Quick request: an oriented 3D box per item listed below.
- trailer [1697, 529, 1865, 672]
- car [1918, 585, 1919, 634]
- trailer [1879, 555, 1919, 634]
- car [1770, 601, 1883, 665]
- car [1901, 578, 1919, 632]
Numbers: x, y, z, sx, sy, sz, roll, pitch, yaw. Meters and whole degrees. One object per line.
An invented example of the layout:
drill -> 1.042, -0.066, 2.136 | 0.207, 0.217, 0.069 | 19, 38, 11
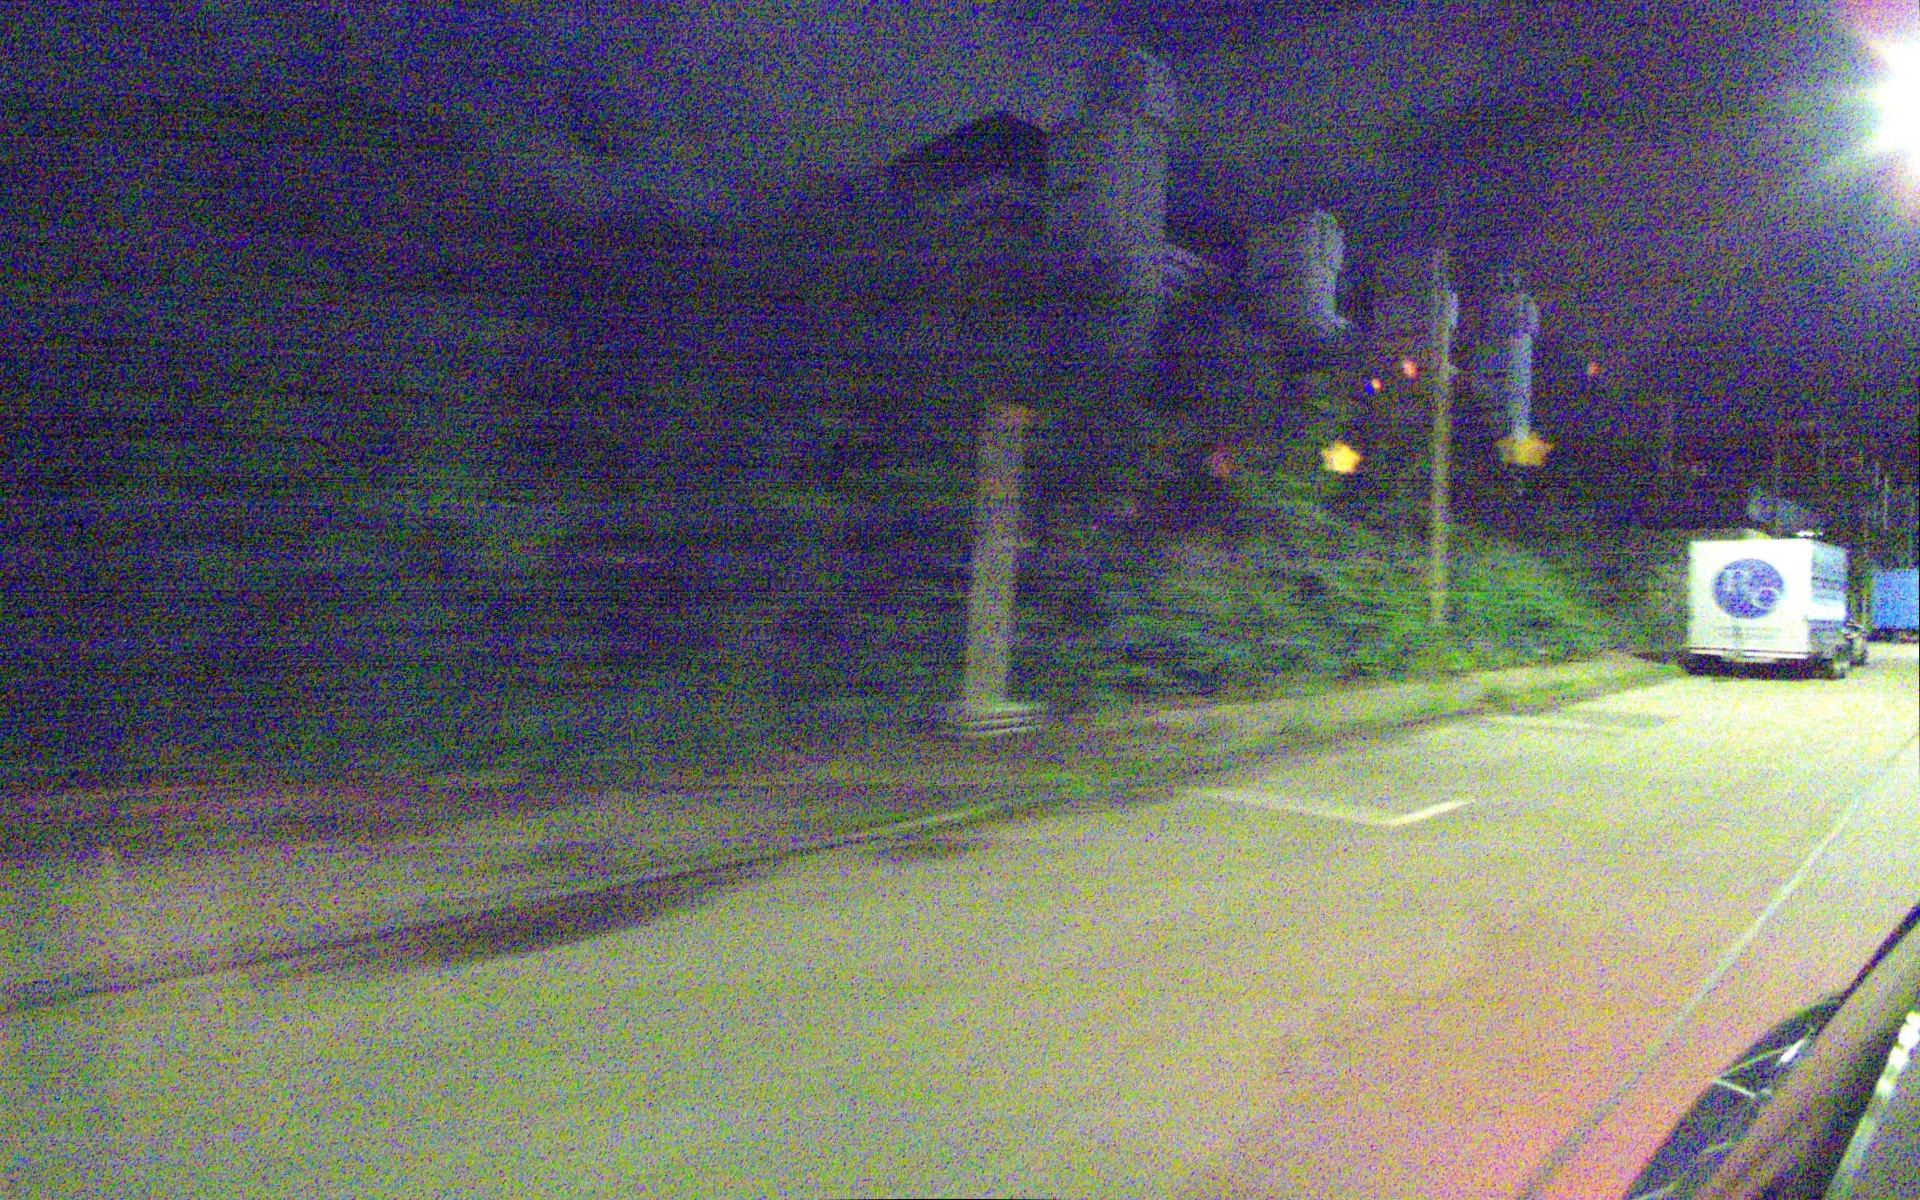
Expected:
trailer -> 17.125, 0.003, 21.055 | 3.929, 2.684, 1.998 | 0, 0, -40
car -> 53.913, 0.539, 55.382 | 5.927, 2.580, 1.995 | 0, 0, -45
trailer -> 42.283, -0.227, 44.627 | 2.399, 3.367, 4.292 | 1, 0, 45
car -> 21.319, 0.741, 24.834 | 4.599, 1.404, 1.728 | 0, 1, -44
car -> 48.551, 0.278, 50.432 | 6.532, 2.580, 1.943 | 0, 0, -43
